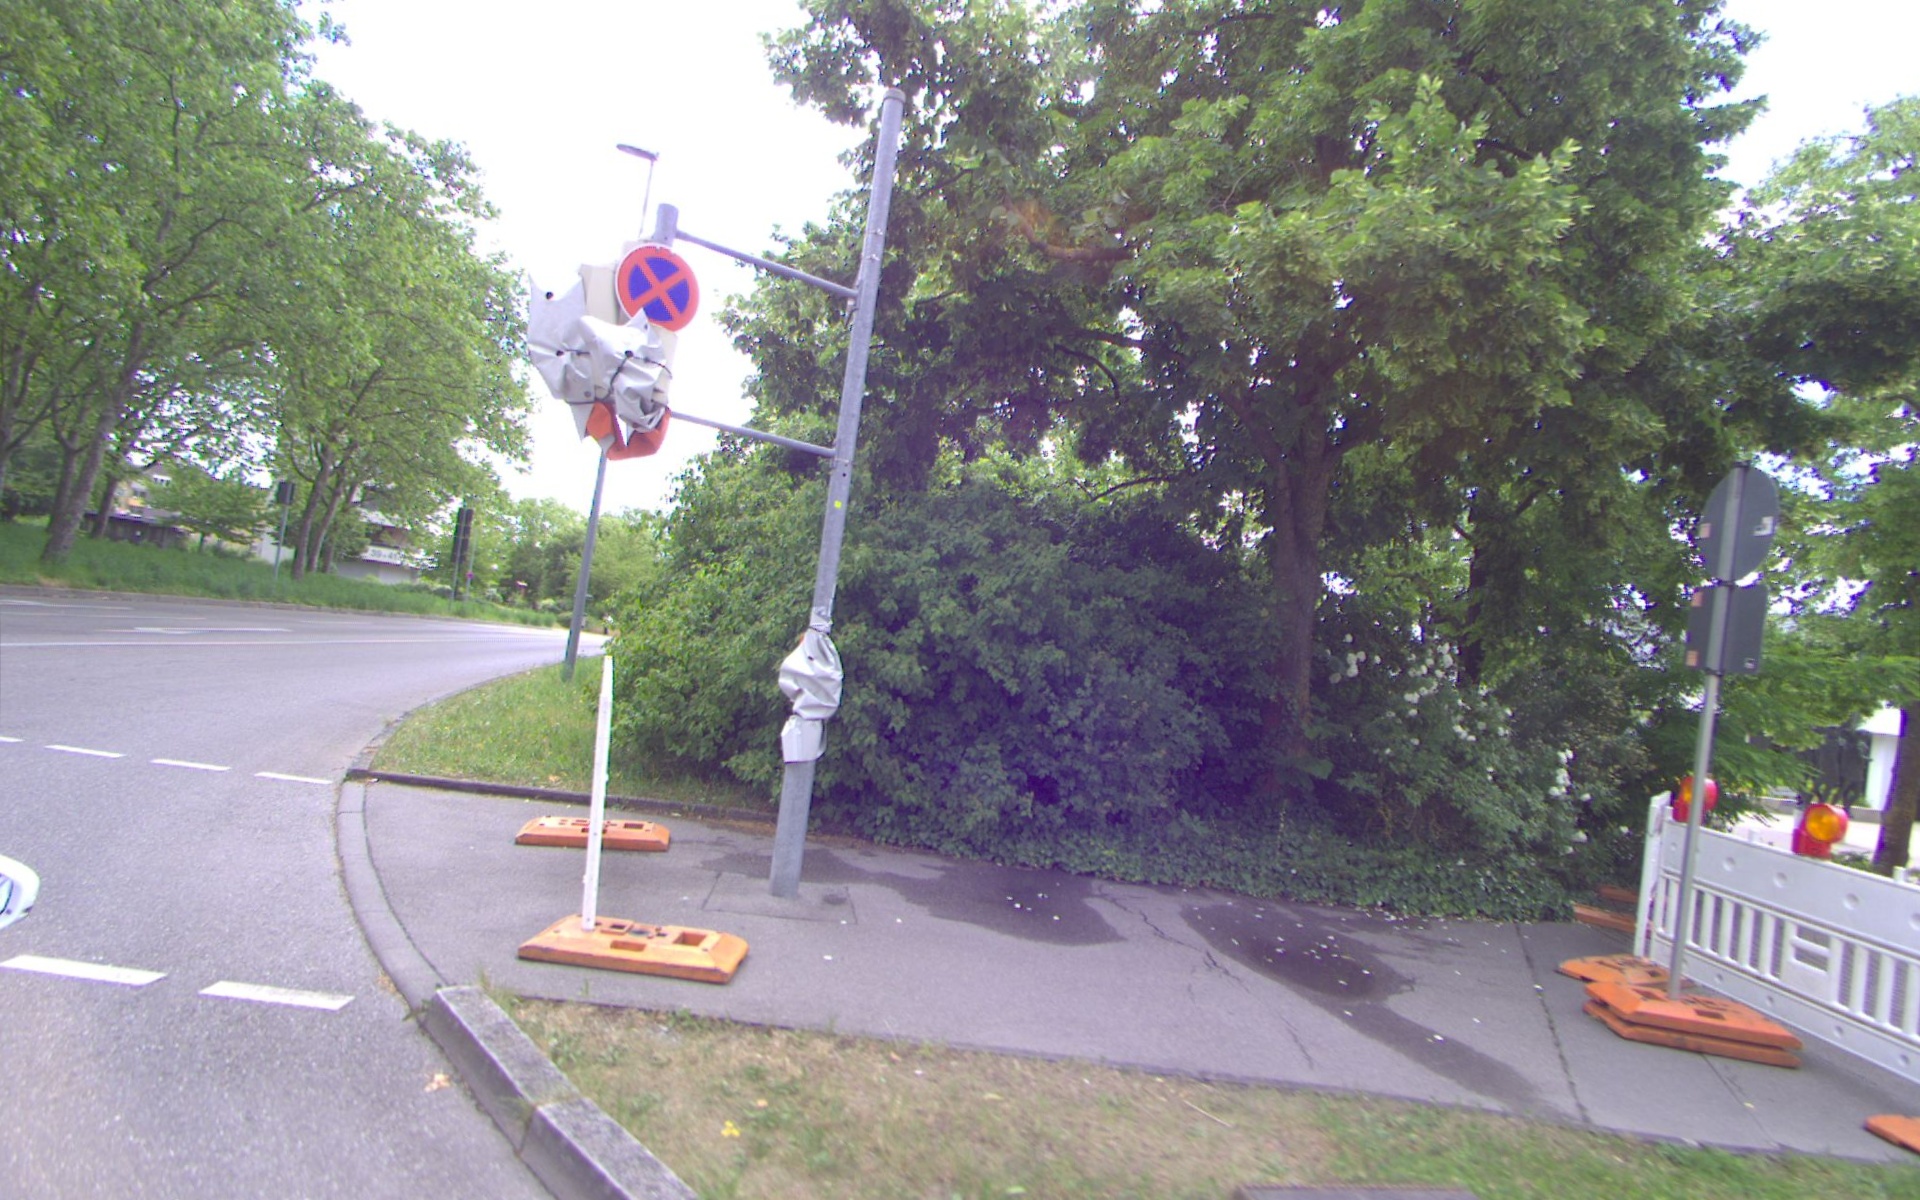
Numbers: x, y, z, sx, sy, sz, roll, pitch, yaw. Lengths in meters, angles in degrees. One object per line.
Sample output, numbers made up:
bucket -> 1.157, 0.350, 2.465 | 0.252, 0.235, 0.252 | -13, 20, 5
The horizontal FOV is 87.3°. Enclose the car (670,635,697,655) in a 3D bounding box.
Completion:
car -> -24.294, 3.977, 88.517 | 1.741, 1.516, 3.935 | 8, -4, -8

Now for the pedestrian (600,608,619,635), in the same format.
pedestrian -> -24.678, 1.509, 70.817 | 0.818, 1.742, 0.768 | 9, -2, -41

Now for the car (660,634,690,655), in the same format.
car -> -23.707, 3.743, 83.885 | 1.741, 1.516, 3.934 | 8, -4, -8
